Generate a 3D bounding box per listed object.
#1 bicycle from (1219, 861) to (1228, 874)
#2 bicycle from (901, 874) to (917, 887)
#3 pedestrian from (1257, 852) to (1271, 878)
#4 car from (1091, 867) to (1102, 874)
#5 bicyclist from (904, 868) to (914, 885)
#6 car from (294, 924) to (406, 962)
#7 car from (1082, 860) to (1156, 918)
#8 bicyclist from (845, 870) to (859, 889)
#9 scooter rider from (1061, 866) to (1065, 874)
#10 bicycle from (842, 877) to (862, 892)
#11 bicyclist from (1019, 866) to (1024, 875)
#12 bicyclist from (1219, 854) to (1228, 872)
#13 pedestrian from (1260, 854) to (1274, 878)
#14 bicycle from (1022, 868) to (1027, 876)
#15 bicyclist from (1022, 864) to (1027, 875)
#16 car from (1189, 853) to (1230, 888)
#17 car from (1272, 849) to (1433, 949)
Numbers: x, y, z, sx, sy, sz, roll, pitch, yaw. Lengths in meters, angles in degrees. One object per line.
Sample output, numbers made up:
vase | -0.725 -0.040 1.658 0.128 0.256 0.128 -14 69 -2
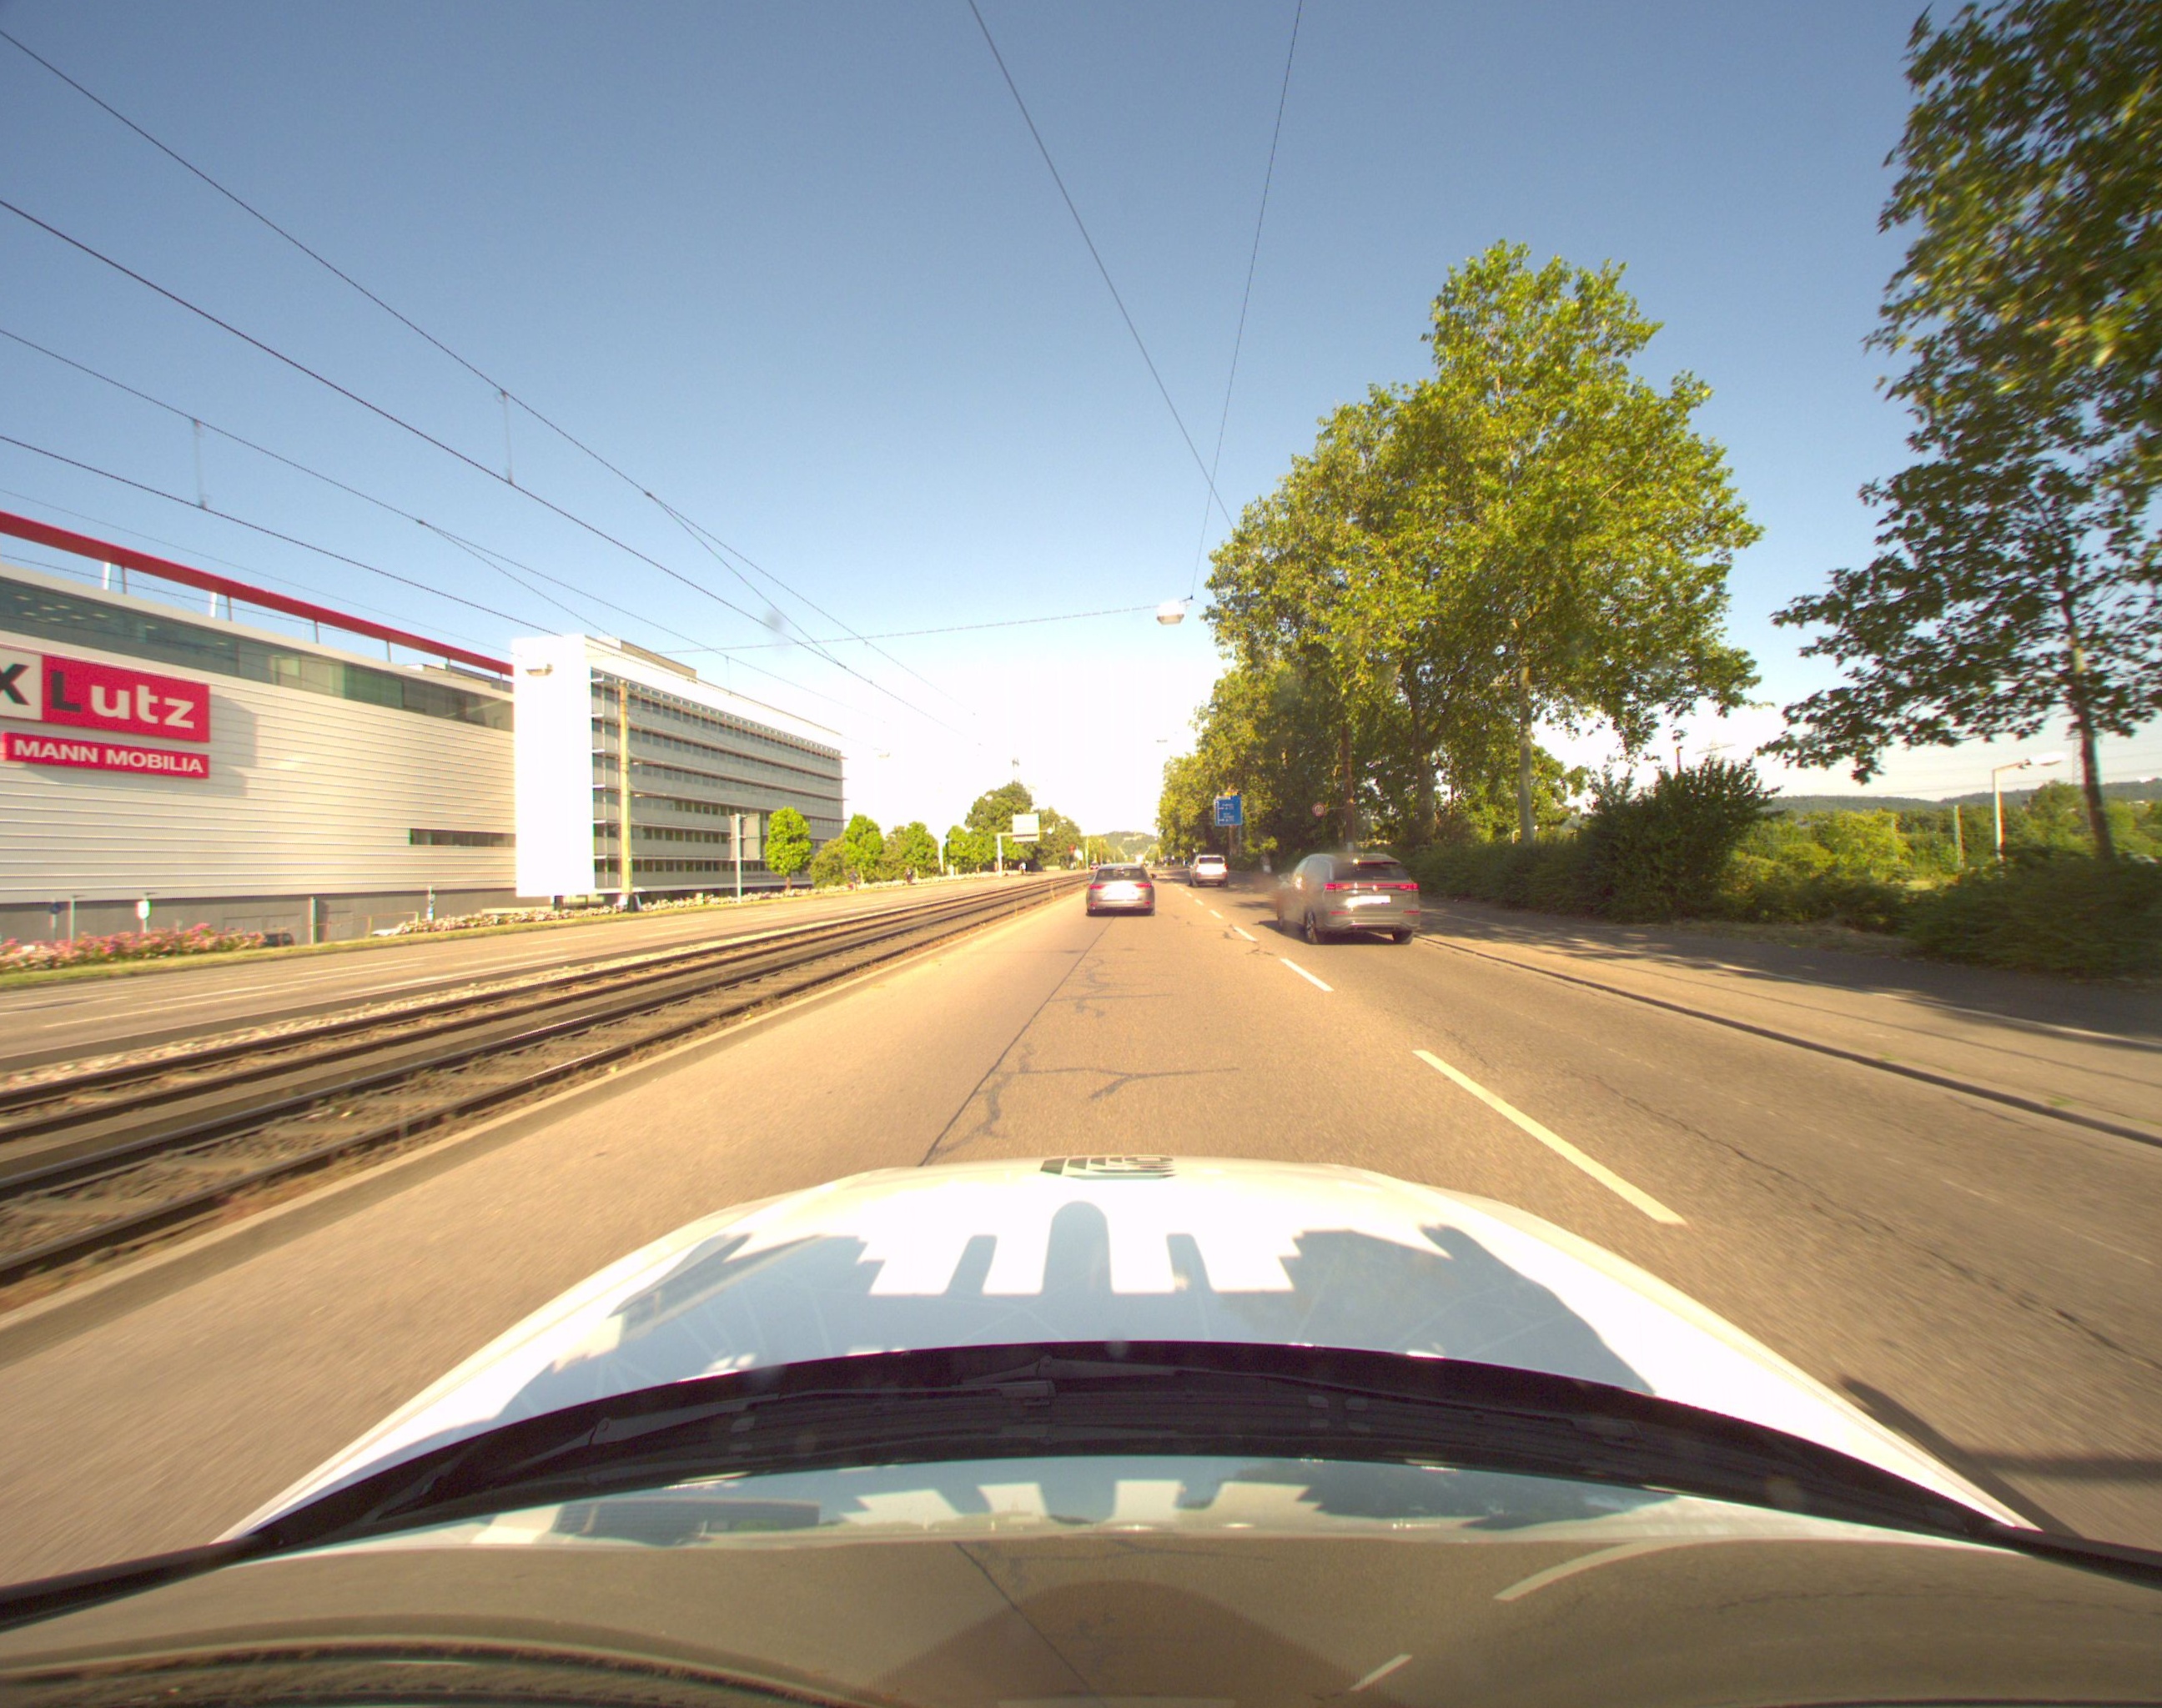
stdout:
bicycle | 12.621 1.202 72.199 0.619 1.120 1.815 -3 -1 5
bicycle | -16.938 2.613 80.141 0.656 1.151 2.030 0 0 15
pedestrian | 12.329 0.709 54.944 0.719 1.708 0.814 -3 -1 4
car | 3.560 3.662 182.466 2.029 1.503 4.895 -2 0 5
bicyclist | -16.944 2.174 80.110 0.656 1.623 0.804 0 -1 14
car | -26.597 3.219 29.733 1.319 1.072 2.842 0 0 7
car | 1.197 0.928 23.471 1.857 1.467 4.673 -2 -1 5
bicyclist | -18.285 2.032 64.978 0.700 1.512 0.973 0 -1 12
scooter rider | -4.010 3.572 180.048 0.677 1.848 1.004 -3 -1 12
bicycle | -18.264 2.428 65.039 0.700 1.073 2.034 0 0 12
bicyclist | -9.177 2.618 125.843 0.622 1.374 0.881 0 -1 5
bicyclist | 12.619 0.781 72.056 0.682 1.509 0.892 -1 -1 5
pedestrian | 12.228 0.790 53.518 0.720 1.480 0.723 -3 -1 4
bicycle | -9.030 2.870 130.683 0.599 1.219 1.751 0 0 5
bicyclist | -9.019 2.474 130.747 0.599 1.659 0.965 0 -1 8
car | 6.820 0.843 43.548 1.875 1.796 4.005 0 0 4
car | 5.043 0.764 15.800 1.837 1.661 4.443 -1 0 3
